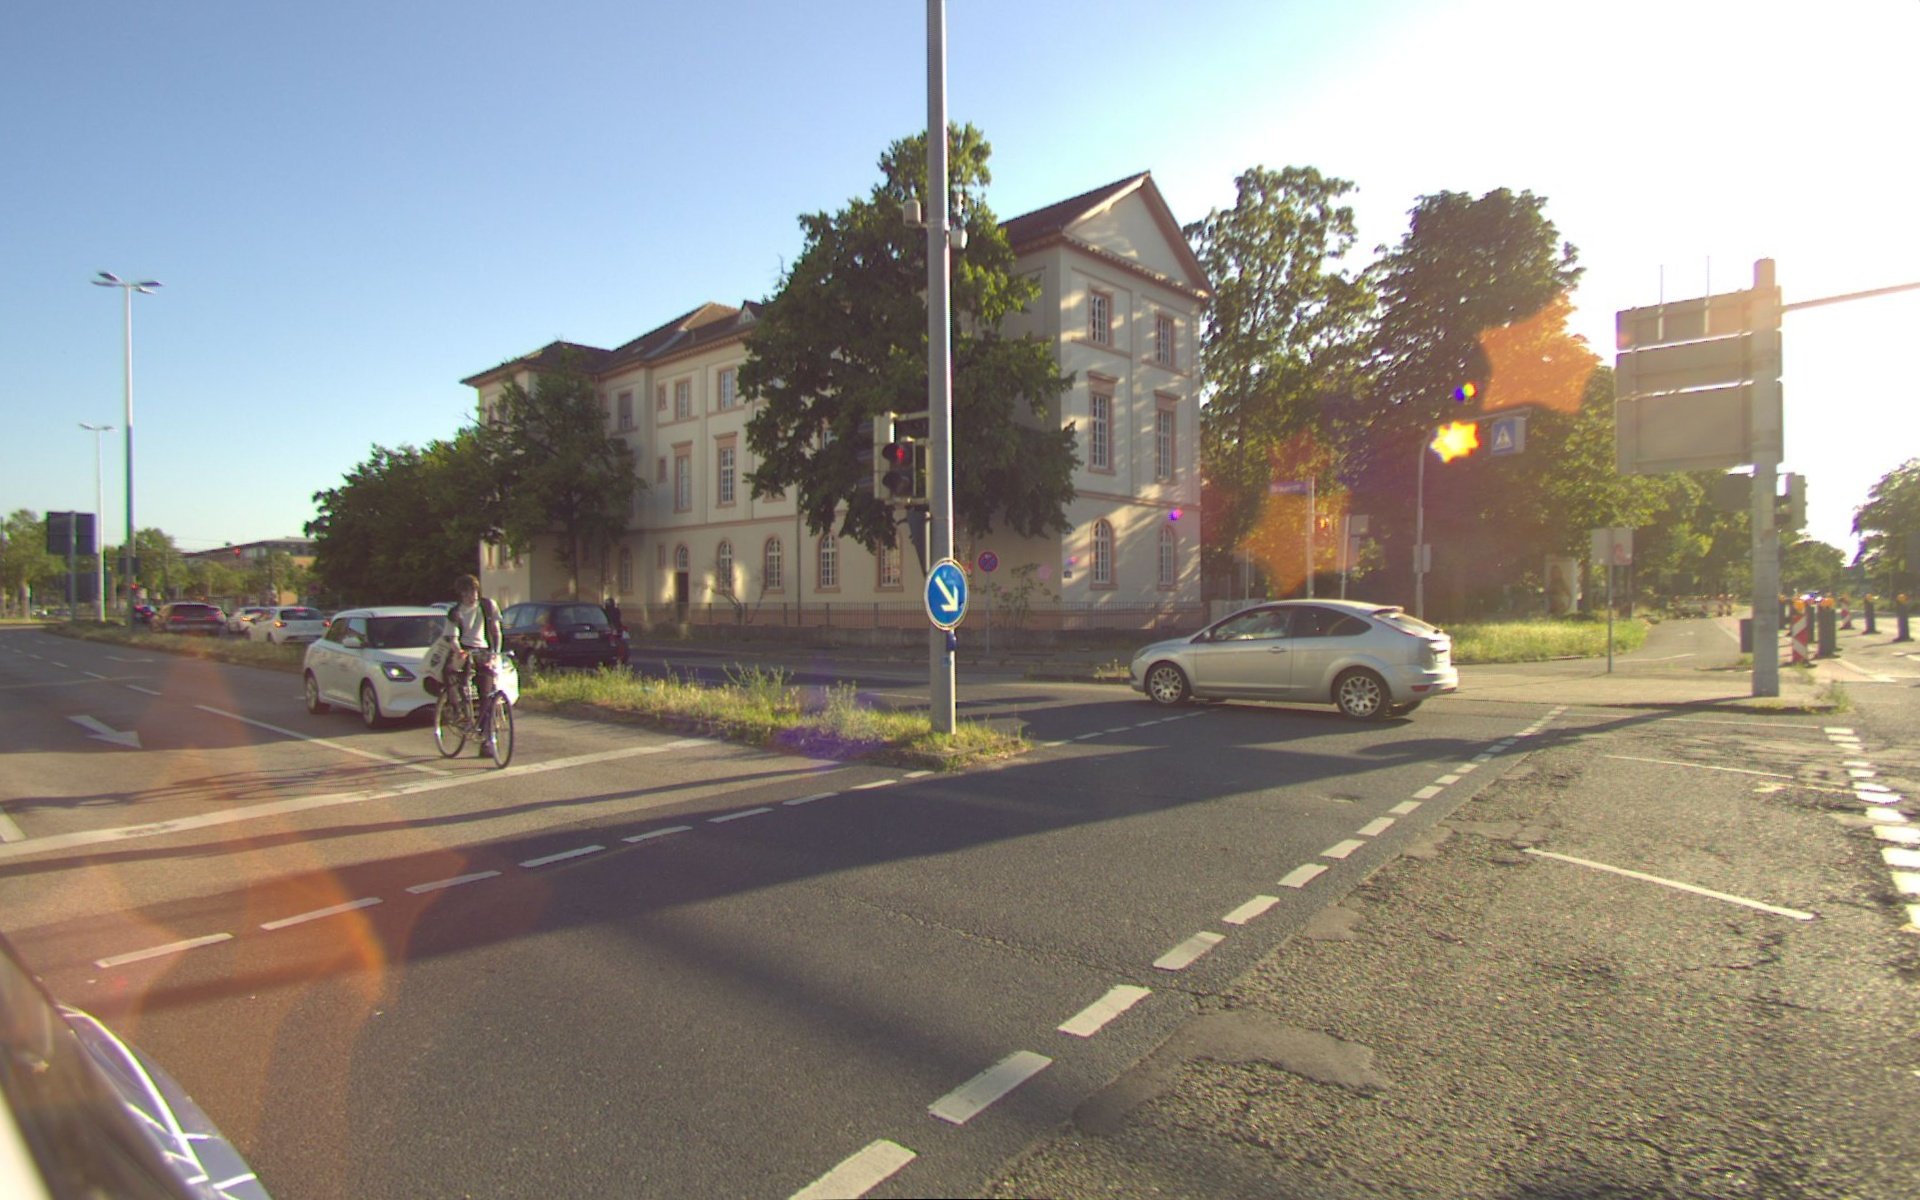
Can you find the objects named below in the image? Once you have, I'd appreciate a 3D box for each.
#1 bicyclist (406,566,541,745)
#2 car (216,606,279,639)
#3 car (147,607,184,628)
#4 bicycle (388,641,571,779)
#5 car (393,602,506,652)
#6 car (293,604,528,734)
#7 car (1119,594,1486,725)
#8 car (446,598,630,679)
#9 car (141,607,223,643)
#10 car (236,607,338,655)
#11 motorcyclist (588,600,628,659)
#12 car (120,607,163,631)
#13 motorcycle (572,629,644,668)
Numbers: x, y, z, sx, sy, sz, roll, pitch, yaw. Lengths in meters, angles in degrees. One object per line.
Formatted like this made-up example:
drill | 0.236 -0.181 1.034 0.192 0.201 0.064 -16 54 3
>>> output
bicyclist | -4.714 0.501 9.801 1.023 1.616 0.827 -1 0 41
car | -37.781 1.182 53.616 4.290 1.648 1.742 -1 0 41
car | -62.424 1.367 79.538 2.015 1.566 4.303 -1 0 -35
bicycle | -4.647 0.990 9.718 2.080 1.116 0.823 -1 0 41
car | -16.292 0.817 32.222 4.290 1.473 1.742 -1 0 41
car | -7.565 0.828 13.800 3.708 1.510 1.741 -1 0 43
car | 4.427 0.688 13.479 4.290 1.473 1.742 -1 0 41
car | -8.673 0.719 20.628 4.290 1.473 1.742 -1 0 41
car | -33.782 1.044 43.907 4.290 1.473 2.021 -1 0 41
car | -22.040 0.976 33.079 4.290 1.473 1.742 -1 0 41
motorcyclist | -8.635 0.713 24.851 0.755 1.417 0.613 -1 0 39
car | -57.096 1.299 70.687 2.015 1.566 4.303 -1 0 -35
motorcycle | -8.663 1.179 24.859 2.159 0.886 0.632 -1 0 39
